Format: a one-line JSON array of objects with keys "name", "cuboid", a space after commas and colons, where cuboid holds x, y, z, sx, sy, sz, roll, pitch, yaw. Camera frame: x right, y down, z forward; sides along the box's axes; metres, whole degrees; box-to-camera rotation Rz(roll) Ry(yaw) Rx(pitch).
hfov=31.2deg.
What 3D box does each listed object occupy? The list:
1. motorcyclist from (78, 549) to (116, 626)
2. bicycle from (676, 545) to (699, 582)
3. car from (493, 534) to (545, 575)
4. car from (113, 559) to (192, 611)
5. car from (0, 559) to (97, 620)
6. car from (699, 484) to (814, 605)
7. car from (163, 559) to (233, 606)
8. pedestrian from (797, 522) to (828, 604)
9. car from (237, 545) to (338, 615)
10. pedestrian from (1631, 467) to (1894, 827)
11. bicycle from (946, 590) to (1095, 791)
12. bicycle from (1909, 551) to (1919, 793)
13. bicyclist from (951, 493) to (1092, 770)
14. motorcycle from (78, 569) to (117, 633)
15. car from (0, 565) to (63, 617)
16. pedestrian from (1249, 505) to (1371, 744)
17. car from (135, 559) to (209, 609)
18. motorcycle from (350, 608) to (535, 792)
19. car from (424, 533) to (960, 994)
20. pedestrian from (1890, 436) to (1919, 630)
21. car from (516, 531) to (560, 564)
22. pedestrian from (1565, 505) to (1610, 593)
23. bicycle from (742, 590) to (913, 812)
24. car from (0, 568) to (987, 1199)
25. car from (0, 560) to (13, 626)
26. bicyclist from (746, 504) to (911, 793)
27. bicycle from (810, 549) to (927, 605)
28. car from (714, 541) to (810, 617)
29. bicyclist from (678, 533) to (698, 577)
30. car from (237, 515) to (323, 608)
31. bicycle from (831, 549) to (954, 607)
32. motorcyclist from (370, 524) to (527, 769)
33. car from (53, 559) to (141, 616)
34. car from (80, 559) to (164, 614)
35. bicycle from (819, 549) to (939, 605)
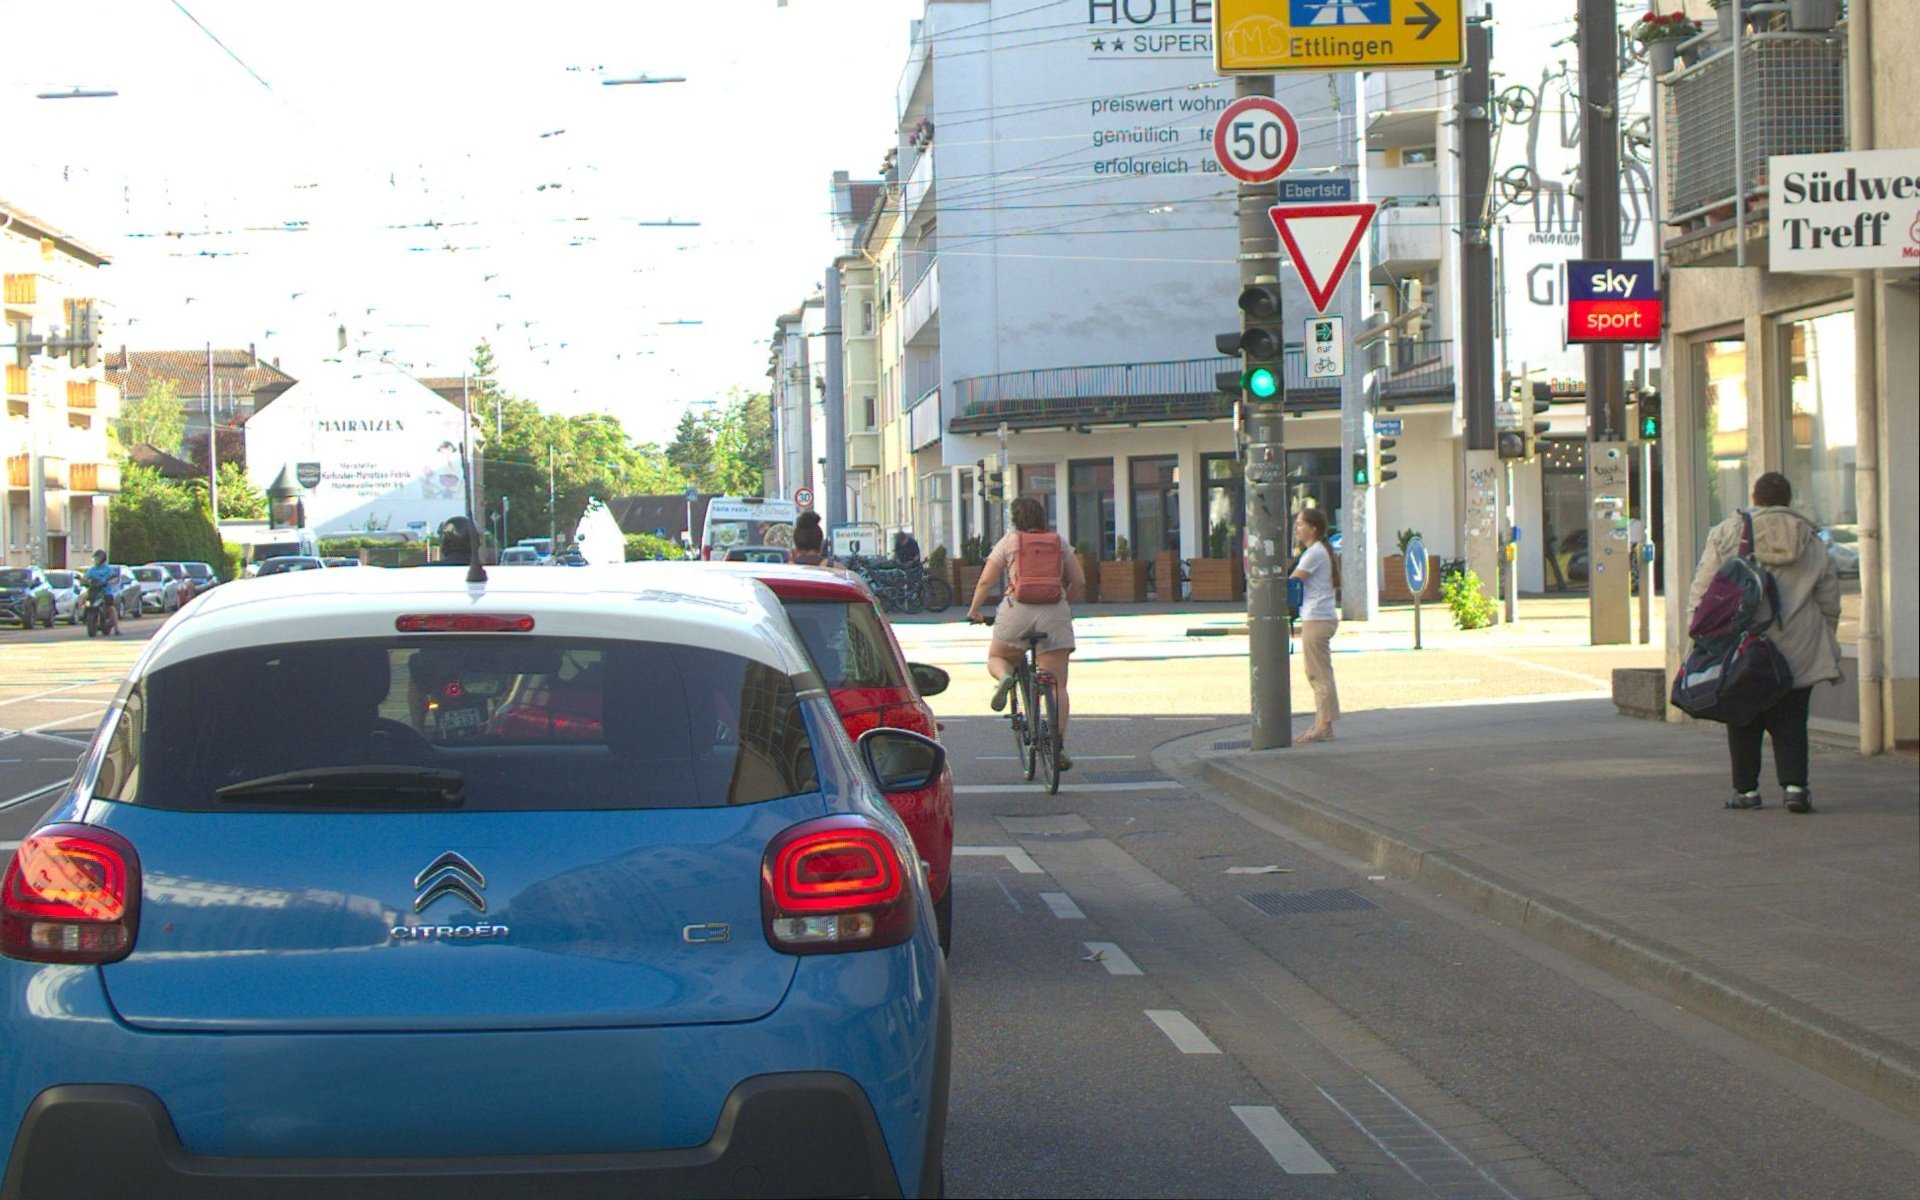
[{"name": "motorcyclist", "cuboid": [-16.836, -0.241, 67.043, 0.693, 1.491, 0.684, -1, -1, -14]}, {"name": "bicycle", "cuboid": [-12.398, -1.651, 156.420, 0.791, 1.664, 2.230, 1, 0, 1]}, {"name": "car", "cuboid": [-21.789, -2.248, 170.003, 2.218, 1.925, 4.950, 1, 1, -4]}, {"name": "car", "cuboid": [-25.255, -0.473, 107.606, 1.869, 1.571, 4.001, 1, 1, -6]}, {"name": "car", "cuboid": [-24.390, -0.305, 92.077, 1.869, 1.571, 4.001, 1, 1, -6]}, {"name": "car", "cuboid": [-4.343, -1.162, 72.820, 2.265, 2.473, 5.009, 0, 1, -5]}, {"name": "car", "cuboid": [-26.338, -0.602, 118.933, 1.869, 1.571, 4.001, 1, 1, -6]}, {"name": "pedestrian", "cuboid": [-2.988, -0.749, 69.647, 0.613, 1.648, 0.671, 1, 0, -2]}, {"name": "car", "cuboid": [-14.911, -0.454, 76.397, 1.778, 1.481, 3.829, -2, 1, -5]}, {"name": "pedestrian", "cuboid": [3.737, 0.200, 16.061, 0.884, 1.586, 0.811, -4, 2, -8]}, {"name": "bicycle", "cuboid": [0.401, 0.536, 21.589, 0.811, 1.177, 2.064, 1, 1, 4]}, {"name": "bicycle", "cuboid": [4.896, 0.348, 15.751, 0.496, 1.157, 1.777, -1, 0, -3]}, {"name": "bicyclist", "cuboid": [0.396, 0.188, 21.565, 0.811, 1.686, 0.935, 1, 0, 4]}, {"name": "motorcycle", "cuboid": [-16.801, 0.028, 66.982, 0.711, 1.216, 1.966, -1, -1, -14]}, {"name": "car", "cuboid": [-23.841, -0.244, 86.077, 1.946, 1.235, 4.283, 1, 1, -5]}, {"name": "pedestrian", "cuboid": [2.463, 0.168, 24.174, 0.540, 1.618, 0.732, -5, -1, 21]}, {"name": "car", "cuboid": [-25.825, -0.533, 112.763, 1.869, 1.571, 4.001, 1, 1, -6]}, {"name": "motorcycle", "cuboid": [-3.165, 0.592, 21.204, 0.855, 1.043, 1.942, 1, 1, -1]}, {"name": "car", "cuboid": [-1.071, 0.522, 13.475, 1.784, 1.516, 3.763, 1, 1, -5]}, {"name": "pedestrian", "cuboid": [5.703, -0.384, 19.284, 0.623, 1.084, 0.679, -3, 2, -37]}, {"name": "car", "cuboid": [-23.056, -2.834, 187.832, 2.074, 1.756, 5.037, 1, 1, -4]}, {"name": "pedestrian", "cuboid": [11.520, -0.927, 63.103, 0.610, 1.603, 0.668, 1, 0, 27]}, {"name": "bicycle", "cuboid": [-0.771, 0.562, 20.289, 0.940, 1.219, 2.095, 1, 1, -2]}, {"name": "car", "cuboid": [-0.970, 0.667, 7.195, 1.736, 1.447, 3.663, 0, 1, -5]}, {"name": "car", "cuboid": [-23.175, -0.161, 79.316, 1.741, 1.521, 4.230, 1, 1, -4]}, {"name": "bicyclist", "cuboid": [-0.780, 0.276, 20.557, 0.940, 1.667, 1.079, 1, 0, -2]}, {"name": "bicycle", "cuboid": [-1.824, -0.456, 68.284, 2.251, 0.998, 0.856, -3, 1, -5]}, {"name": "car", "cuboid": [-3.940, -0.424, 67.848, 1.657, 1.426, 3.889, 1, 1, -7]}, {"name": "bicyclist", "cuboid": [-12.393, -2.051, 156.419, 0.791, 2.018, 0.986, 1, 0, 1]}, {"name": "car", "cuboid": [-23.556, -1.325, 119.149, 2.417, 3.131, 3.489, 1, 0, -3]}, {"name": "bicycle", "cuboid": [-1.302, -0.423, 65.809, 2.251, 0.998, 0.856, -3, 1, -5]}, {"name": "motorcyclist", "cuboid": [-3.166, 0.283, 21.343, 0.855, 1.483, 0.729, 1, 0, -1]}, {"name": "car", "cuboid": [-24.601, -0.369, 98.137, 1.869, 1.571, 4.001, 1, 1, -6]}, {"name": "car", "cuboid": [-25.019, -0.421, 102.755, 1.869, 1.571, 4.001, 1, 1, -6]}, {"name": "bicycle", "cuboid": [-1.593, -0.451, 67.176, 2.251, 0.998, 0.856, -3, 1, -5]}]
